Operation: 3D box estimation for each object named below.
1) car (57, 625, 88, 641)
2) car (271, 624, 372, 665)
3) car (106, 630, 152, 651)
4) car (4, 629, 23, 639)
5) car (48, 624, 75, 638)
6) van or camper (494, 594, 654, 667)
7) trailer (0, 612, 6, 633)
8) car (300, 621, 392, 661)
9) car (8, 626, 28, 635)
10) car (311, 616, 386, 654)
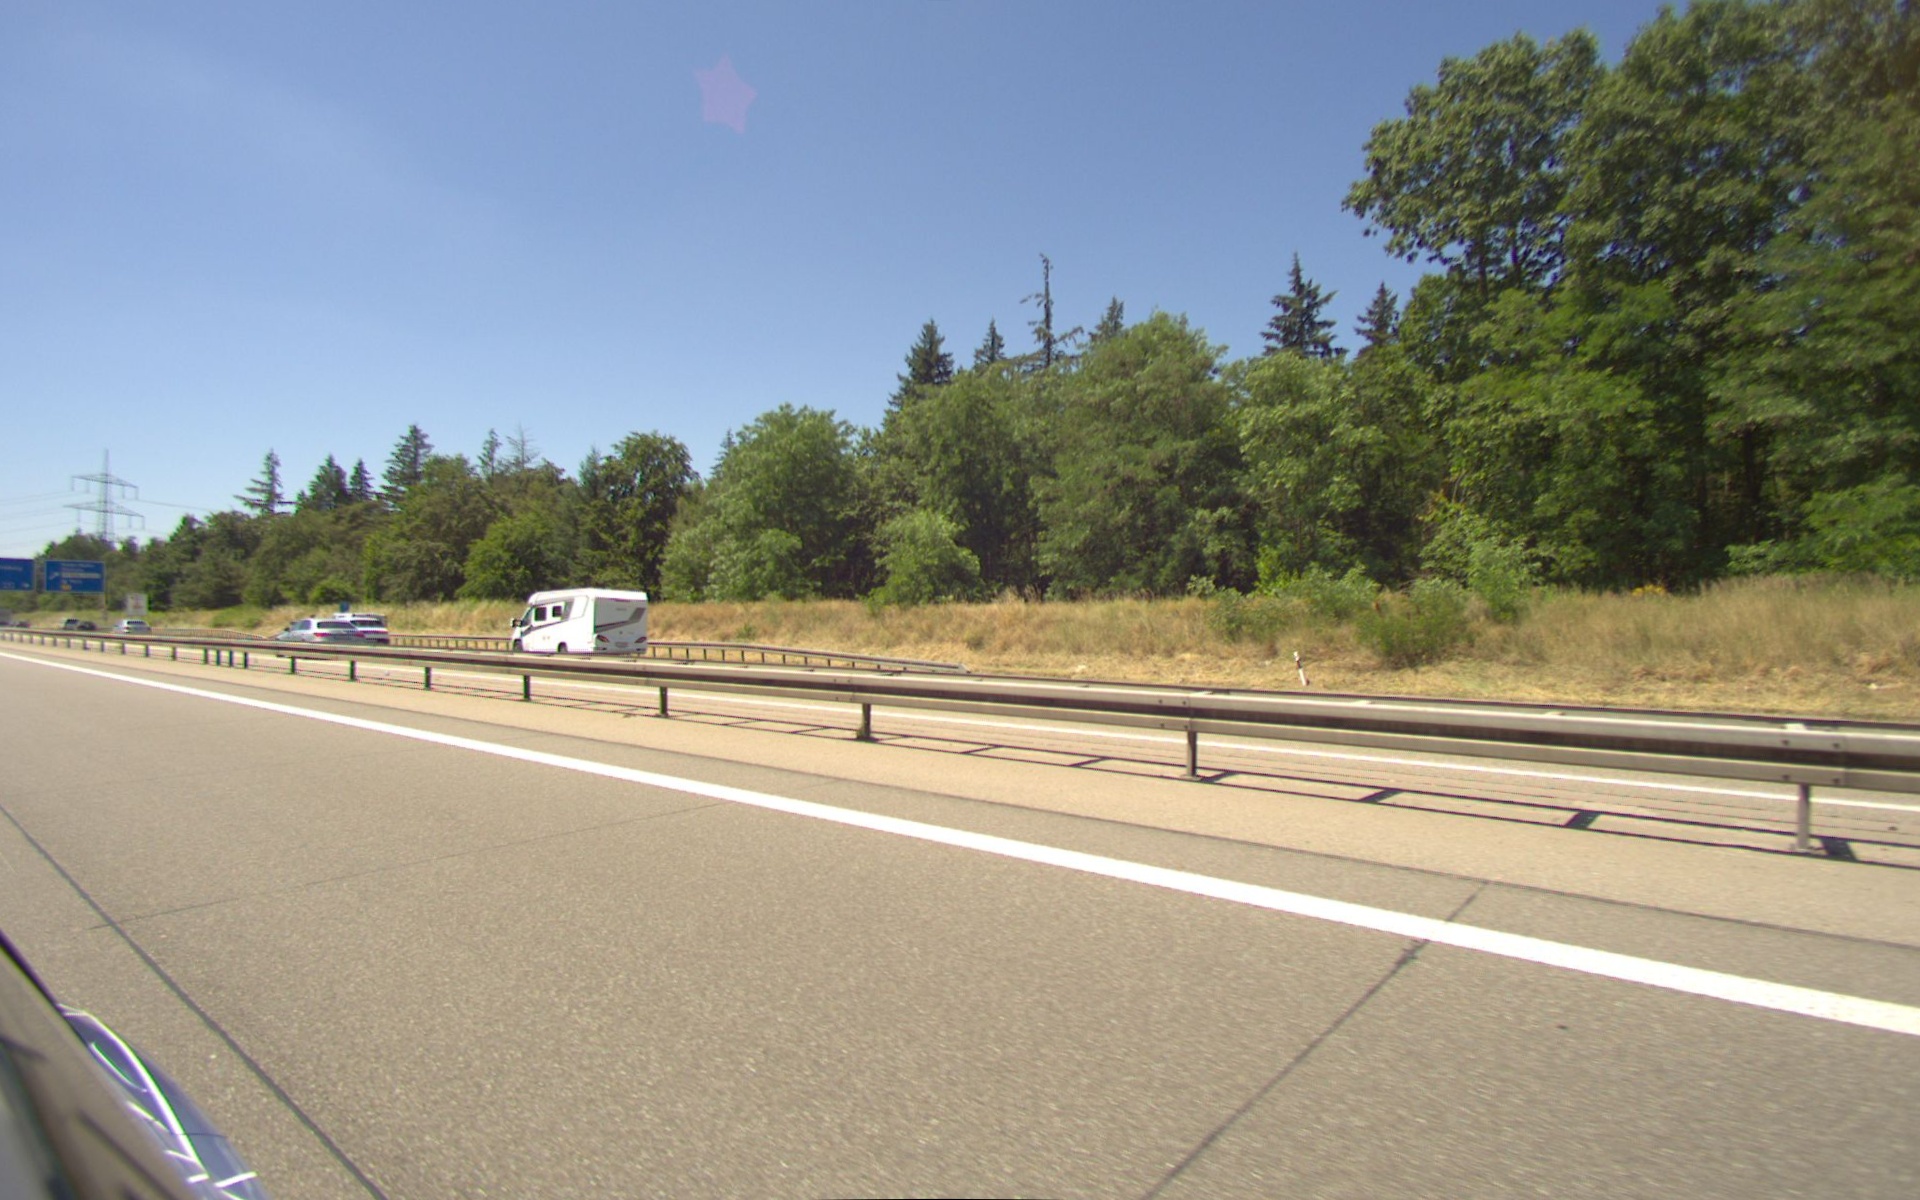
[{"bbox_3d":[-104.595,3.886,119.255,4.976,1.717,1.973,-1,-4,41],"label":"car"},{"bbox_3d":[-22.581,1.556,35.736,4.350,1.383,1.817,-1,-4,41],"label":"car"},{"bbox_3d":[-63.209,3.053,76.948,5.202,1.539,1.832,-1,-2,41],"label":"car"},{"bbox_3d":[-172.098,6.126,183.945,4.941,1.474,2.064,4,1,41],"label":"car"},{"bbox_3d":[-119.140,4.119,134.212,4.640,1.842,1.973,-1,-4,41],"label":"car"},{"bbox_3d":[-15.158,1.209,39.396,7.766,2.595,2.436,-1,-4,41],"label":"van or camper"},{"bbox_3d":[-189.931,4.414,198.499,13.963,3.960,3.134,-1,-1,43],"label":"trailer"},{"bbox_3d":[-27.502,1.815,45.263,5.242,1.707,1.972,-1,-4,41],"label":"car"},{"bbox_3d":[-158.680,5.180,170.487,4.940,1.474,1.907,-1,-2,41],"label":"car"},{"bbox_3d":[-33.883,1.932,56.011,5.242,1.968,1.972,-1,-4,41],"label":"car"}]
